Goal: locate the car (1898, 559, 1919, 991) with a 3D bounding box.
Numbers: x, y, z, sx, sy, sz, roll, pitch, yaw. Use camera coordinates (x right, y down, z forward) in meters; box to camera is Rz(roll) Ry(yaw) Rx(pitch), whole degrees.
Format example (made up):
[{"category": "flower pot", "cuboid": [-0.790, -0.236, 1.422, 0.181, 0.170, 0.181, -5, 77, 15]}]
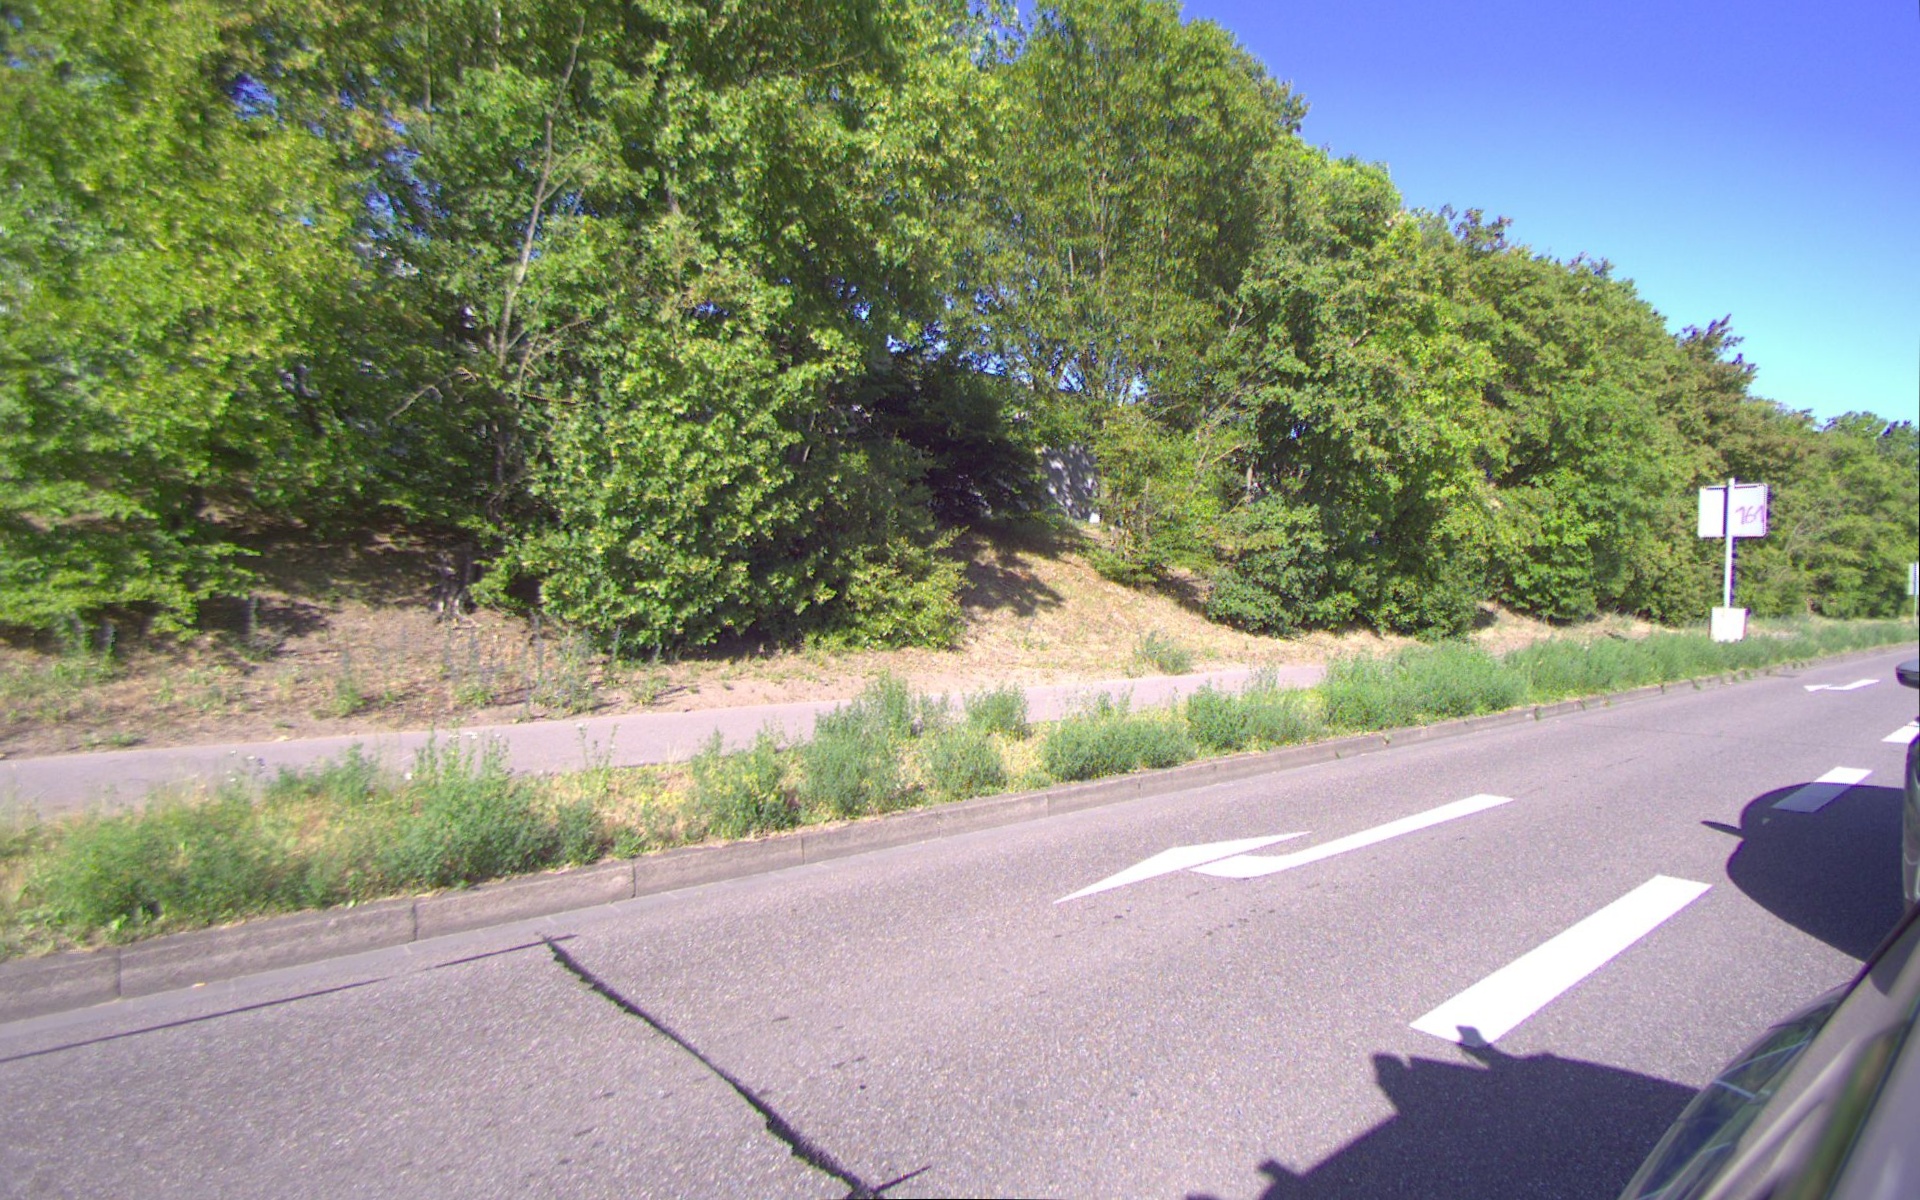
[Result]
[{"category": "car", "cuboid": [5.746, 0.652, 4.551, 4.327, 1.603, 1.860, 0, 0, -42]}]
